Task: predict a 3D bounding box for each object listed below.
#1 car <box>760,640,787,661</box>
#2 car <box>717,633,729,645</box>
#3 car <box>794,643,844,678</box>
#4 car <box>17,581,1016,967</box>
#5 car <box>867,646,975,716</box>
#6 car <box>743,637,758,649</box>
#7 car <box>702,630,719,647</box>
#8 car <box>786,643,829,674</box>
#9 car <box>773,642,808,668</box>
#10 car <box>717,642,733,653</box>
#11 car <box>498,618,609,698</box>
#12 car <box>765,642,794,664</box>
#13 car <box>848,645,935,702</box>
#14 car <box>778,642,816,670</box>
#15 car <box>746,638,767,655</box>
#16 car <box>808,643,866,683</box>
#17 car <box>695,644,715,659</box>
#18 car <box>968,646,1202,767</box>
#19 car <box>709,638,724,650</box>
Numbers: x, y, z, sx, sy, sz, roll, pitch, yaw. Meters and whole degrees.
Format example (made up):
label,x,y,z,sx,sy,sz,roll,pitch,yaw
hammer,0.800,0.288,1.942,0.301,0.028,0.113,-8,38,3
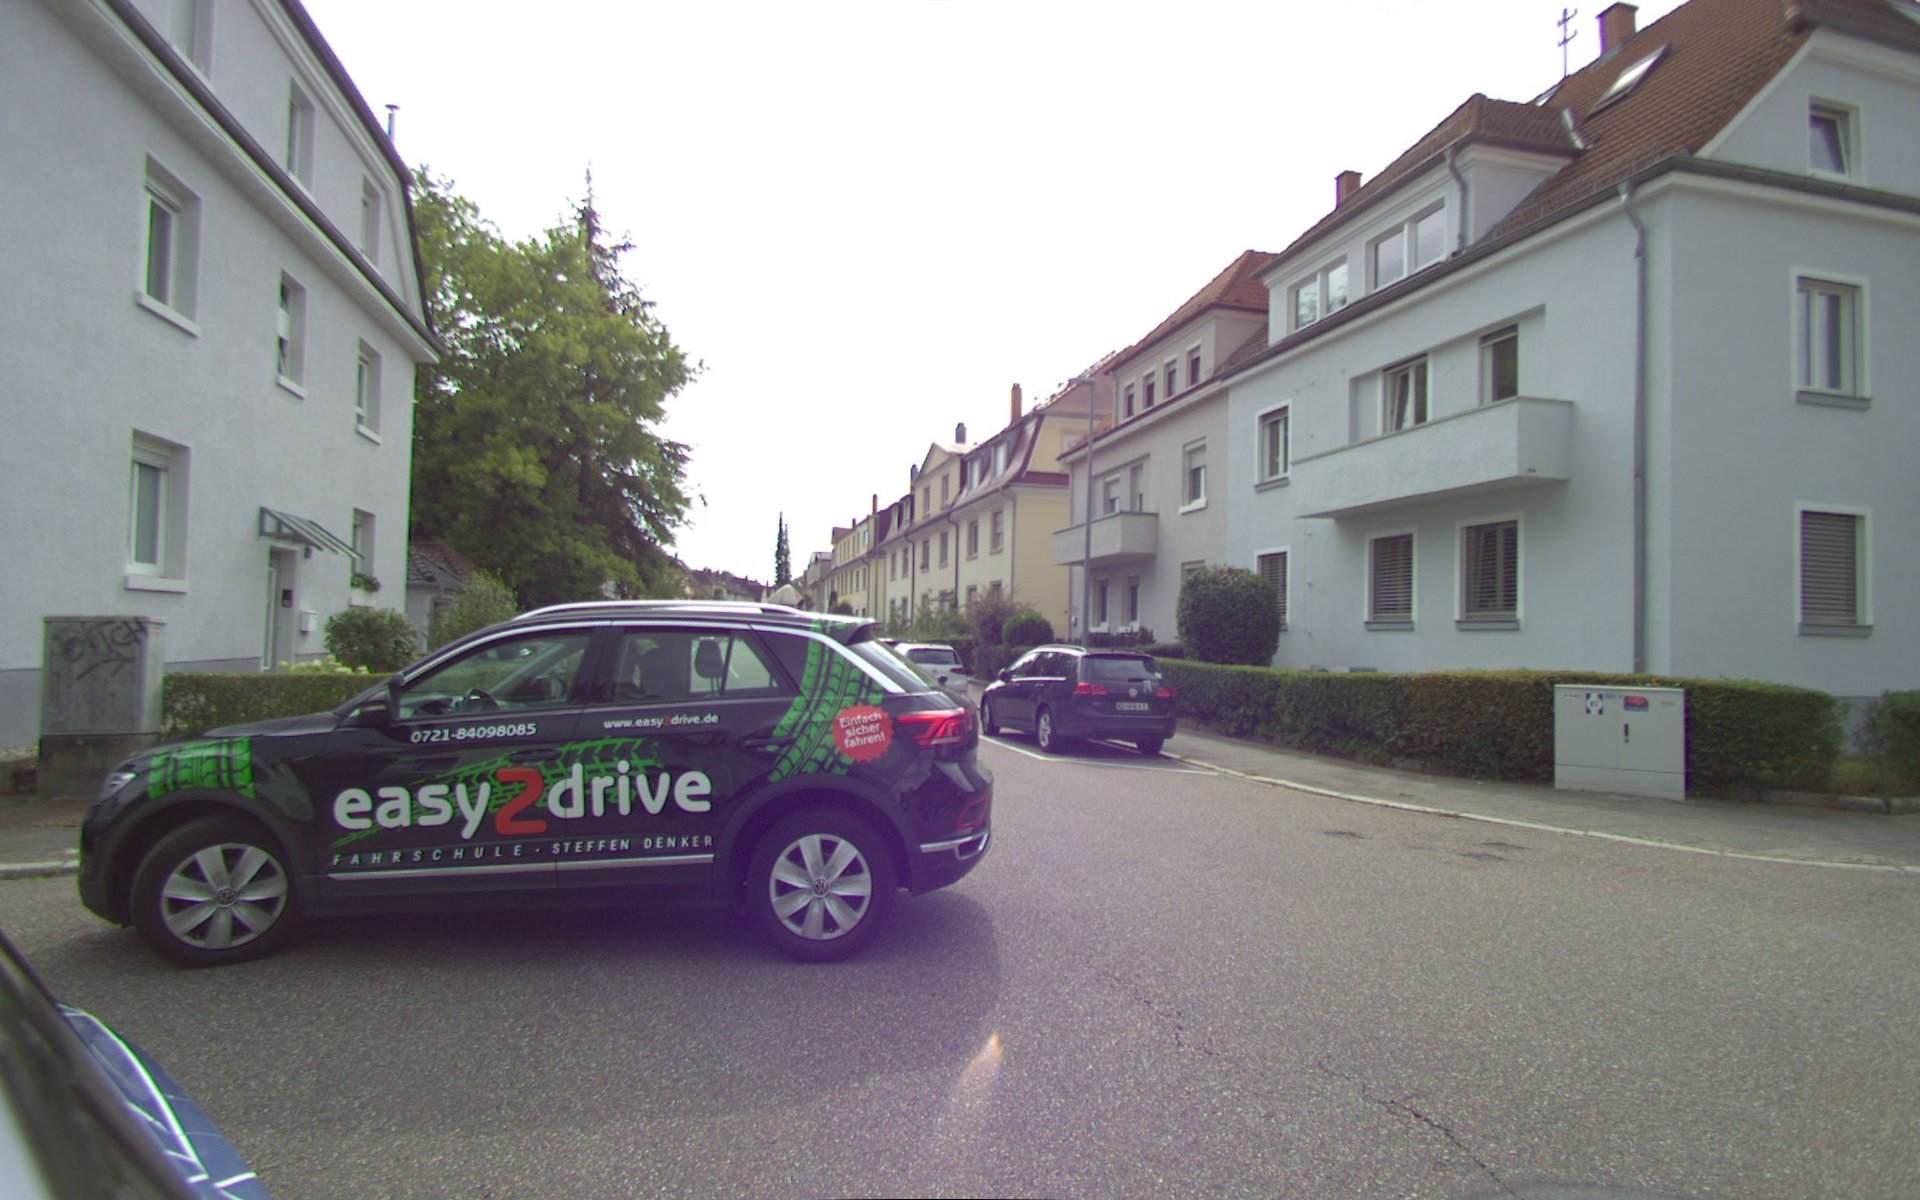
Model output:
label,x,y,z,sx,sy,sz,roll,pitch,yaw
car,-14.614,3.944,79.269,1.829,1.590,4.185,2,-3,-13
car,-44.121,7.260,188.518,1.967,2.140,4.008,2,-3,-11
car,-6.433,2.708,45.759,1.829,1.483,4.185,2,-3,-13
car,-1.788,0.747,4.999,3.986,1.531,1.822,0,-3,0
car,-1.030,1.884,24.388,1.829,1.483,4.185,2,-3,-13
car,-28.702,5.881,138.385,1.829,1.590,4.185,2,-3,-13
car,-31.689,4.922,128.528,1.967,2.029,4.009,2,-3,-12
car,-7.759,2.921,51.306,1.829,1.483,4.185,2,-3,-13
car,-10.385,3.331,61.964,1.829,1.483,4.185,2,-3,-13
car,-36.898,7.437,158.937,1.969,1.548,4.005,0,-2,-6
car,-10.300,1.460,25.943,1.967,1.852,4.010,2,-3,-13
car,-13.260,3.865,74.157,1.829,1.483,4.185,2,-3,-13
car,-2.052,2.065,29.091,1.829,1.483,4.185,2,-3,-13
car,-9.334,3.168,57.720,1.829,1.483,4.185,2,-3,-13
car,-19.700,4.452,97.892,1.828,1.590,4.186,2,-3,-14
car,-4.975,2.508,40.592,1.829,1.483,4.185,2,-3,-13
car,-29.307,5.973,116.584,1.967,1.652,4.008,2,-3,-11
car,1.648,1.443,14.896,1.828,1.483,4.187,2,-3,-17
car,-34.870,6.351,144.980,1.967,1.652,4.008,2,-3,-11
